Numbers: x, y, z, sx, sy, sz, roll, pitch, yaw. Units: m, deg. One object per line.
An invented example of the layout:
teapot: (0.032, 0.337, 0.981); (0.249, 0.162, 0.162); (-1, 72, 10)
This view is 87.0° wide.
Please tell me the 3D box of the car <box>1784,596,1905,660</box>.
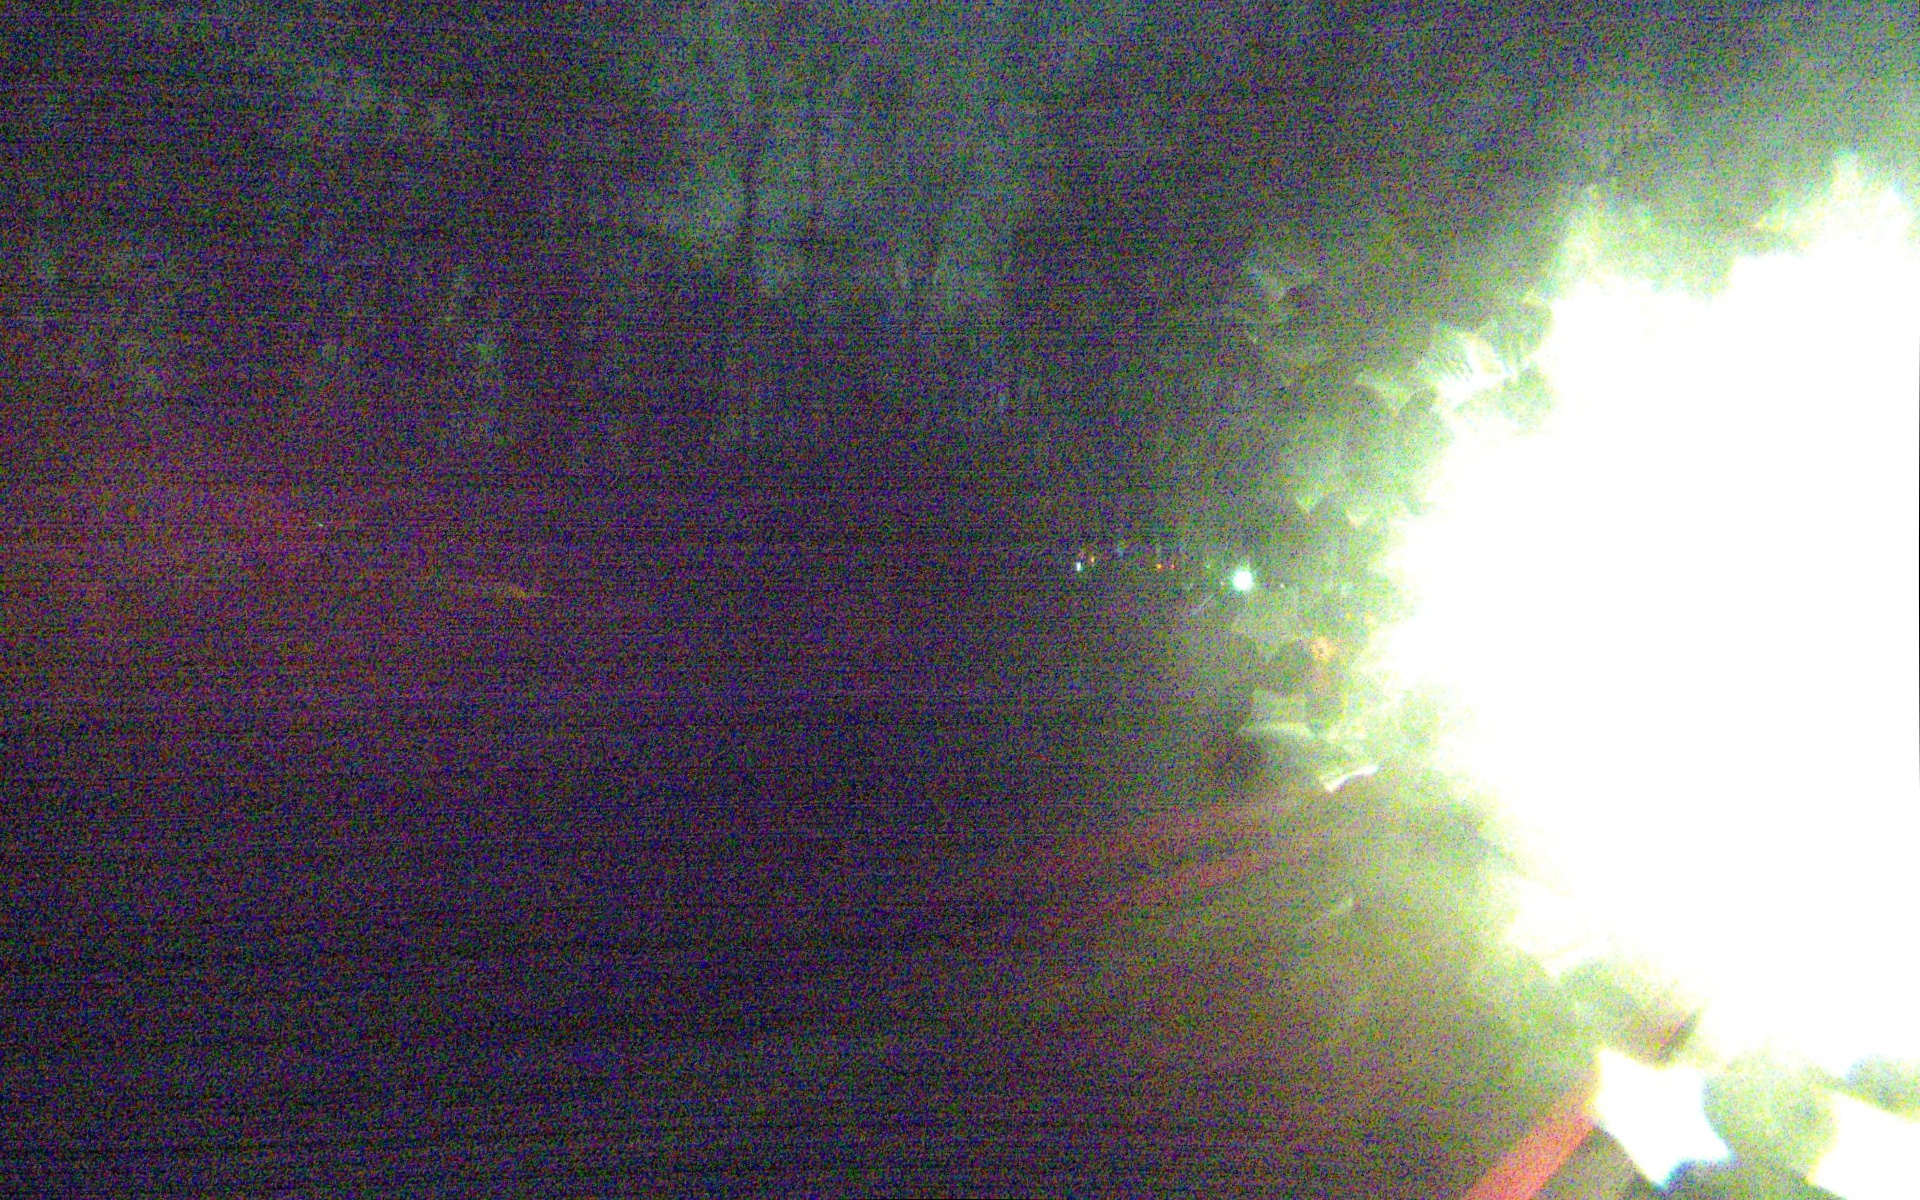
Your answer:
car: (22.632, 0.658, 26.038); (1.838, 1.467, 3.952); (0, 0, 34)

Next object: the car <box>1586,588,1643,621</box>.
car: (31.896, 0.257, 49.420); (1.832, 1.468, 3.838); (-2, -3, 26)
